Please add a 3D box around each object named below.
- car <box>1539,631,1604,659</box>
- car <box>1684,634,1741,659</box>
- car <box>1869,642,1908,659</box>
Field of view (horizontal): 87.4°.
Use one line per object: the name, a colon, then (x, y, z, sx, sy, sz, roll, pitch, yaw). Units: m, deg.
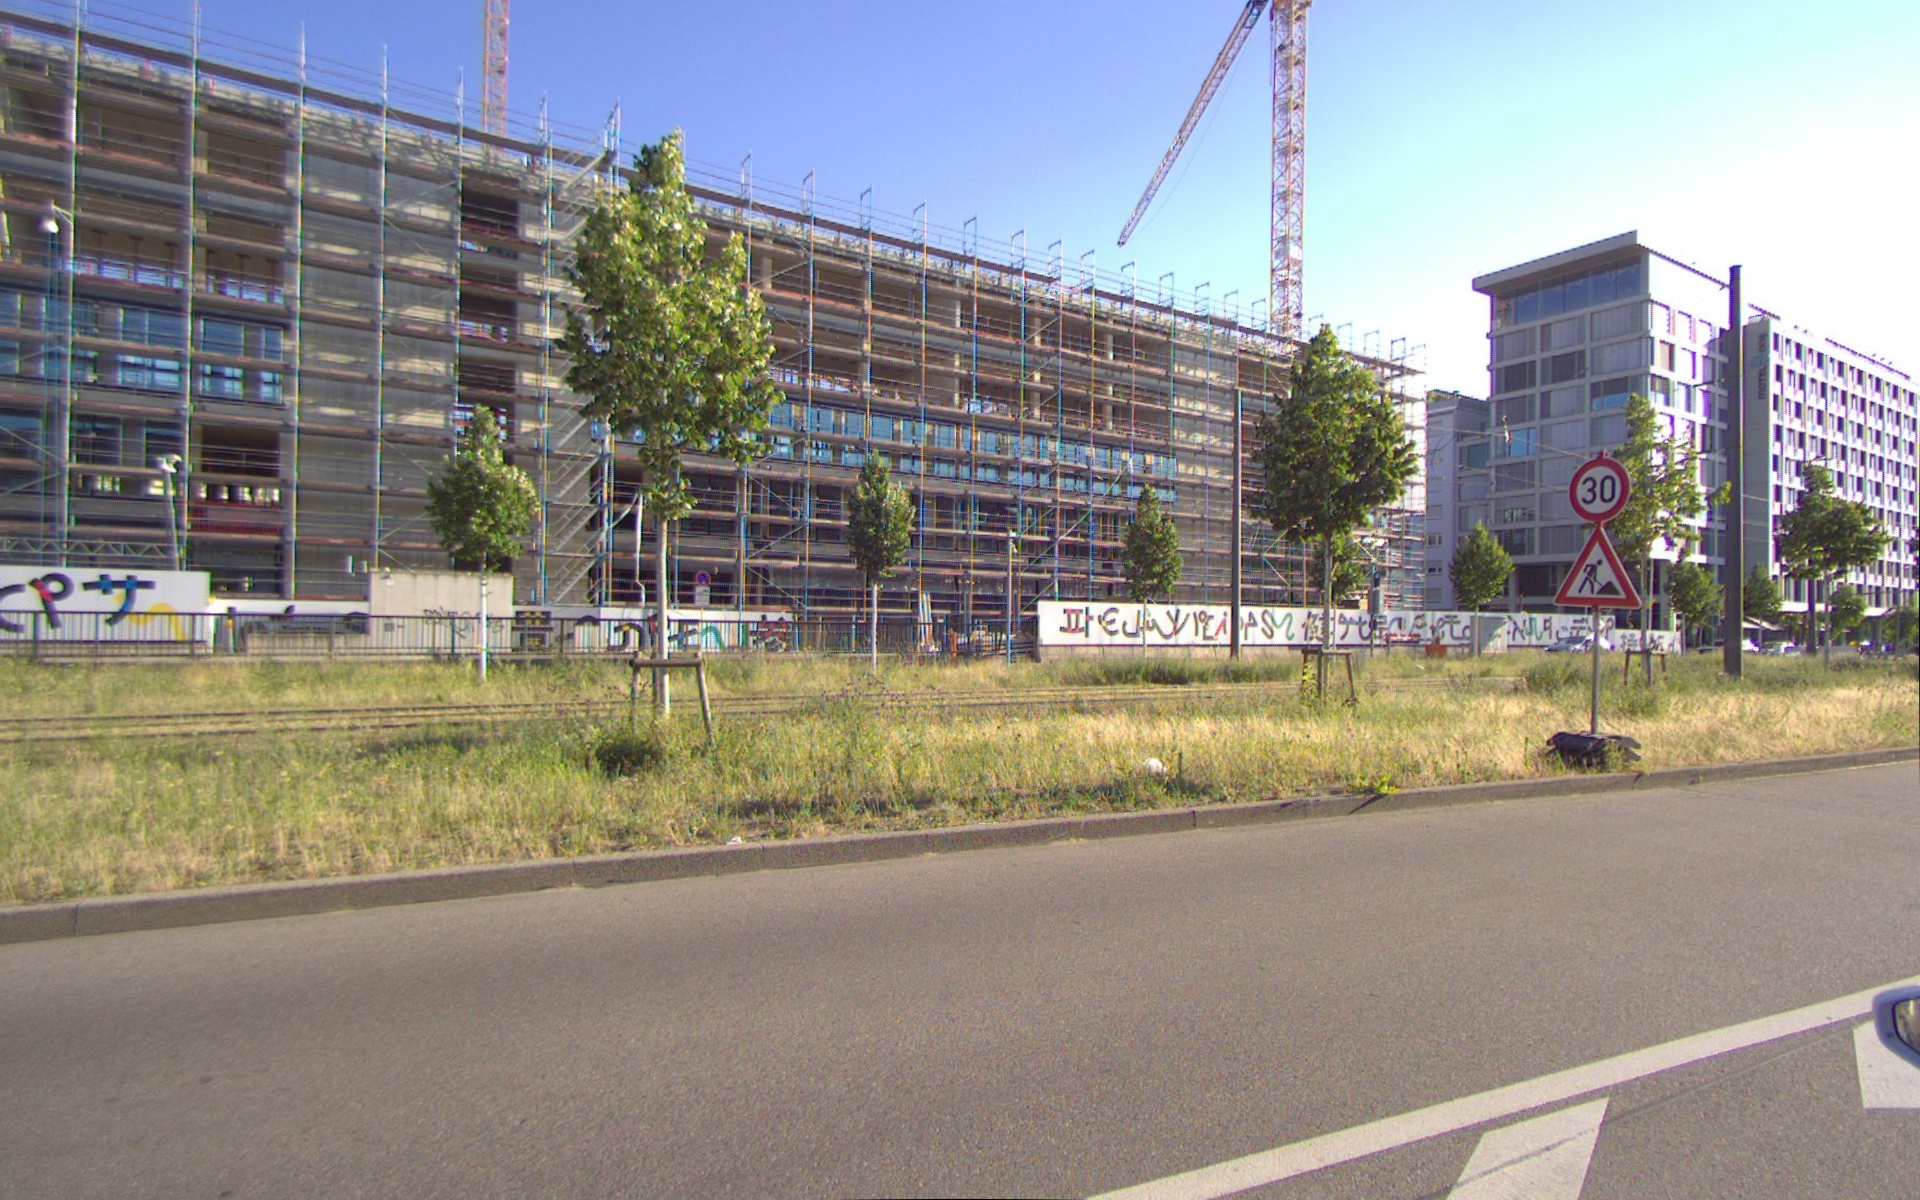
car: (34.357, 2.517, 56.408, 3.543, 1.461, 1.699, 2, 0, -32)
car: (47.585, 2.953, 63.502, 3.543, 1.461, 1.699, 2, 0, -32)
car: (84.010, 4.581, 90.881, 3.543, 1.461, 1.699, 2, 0, -32)
